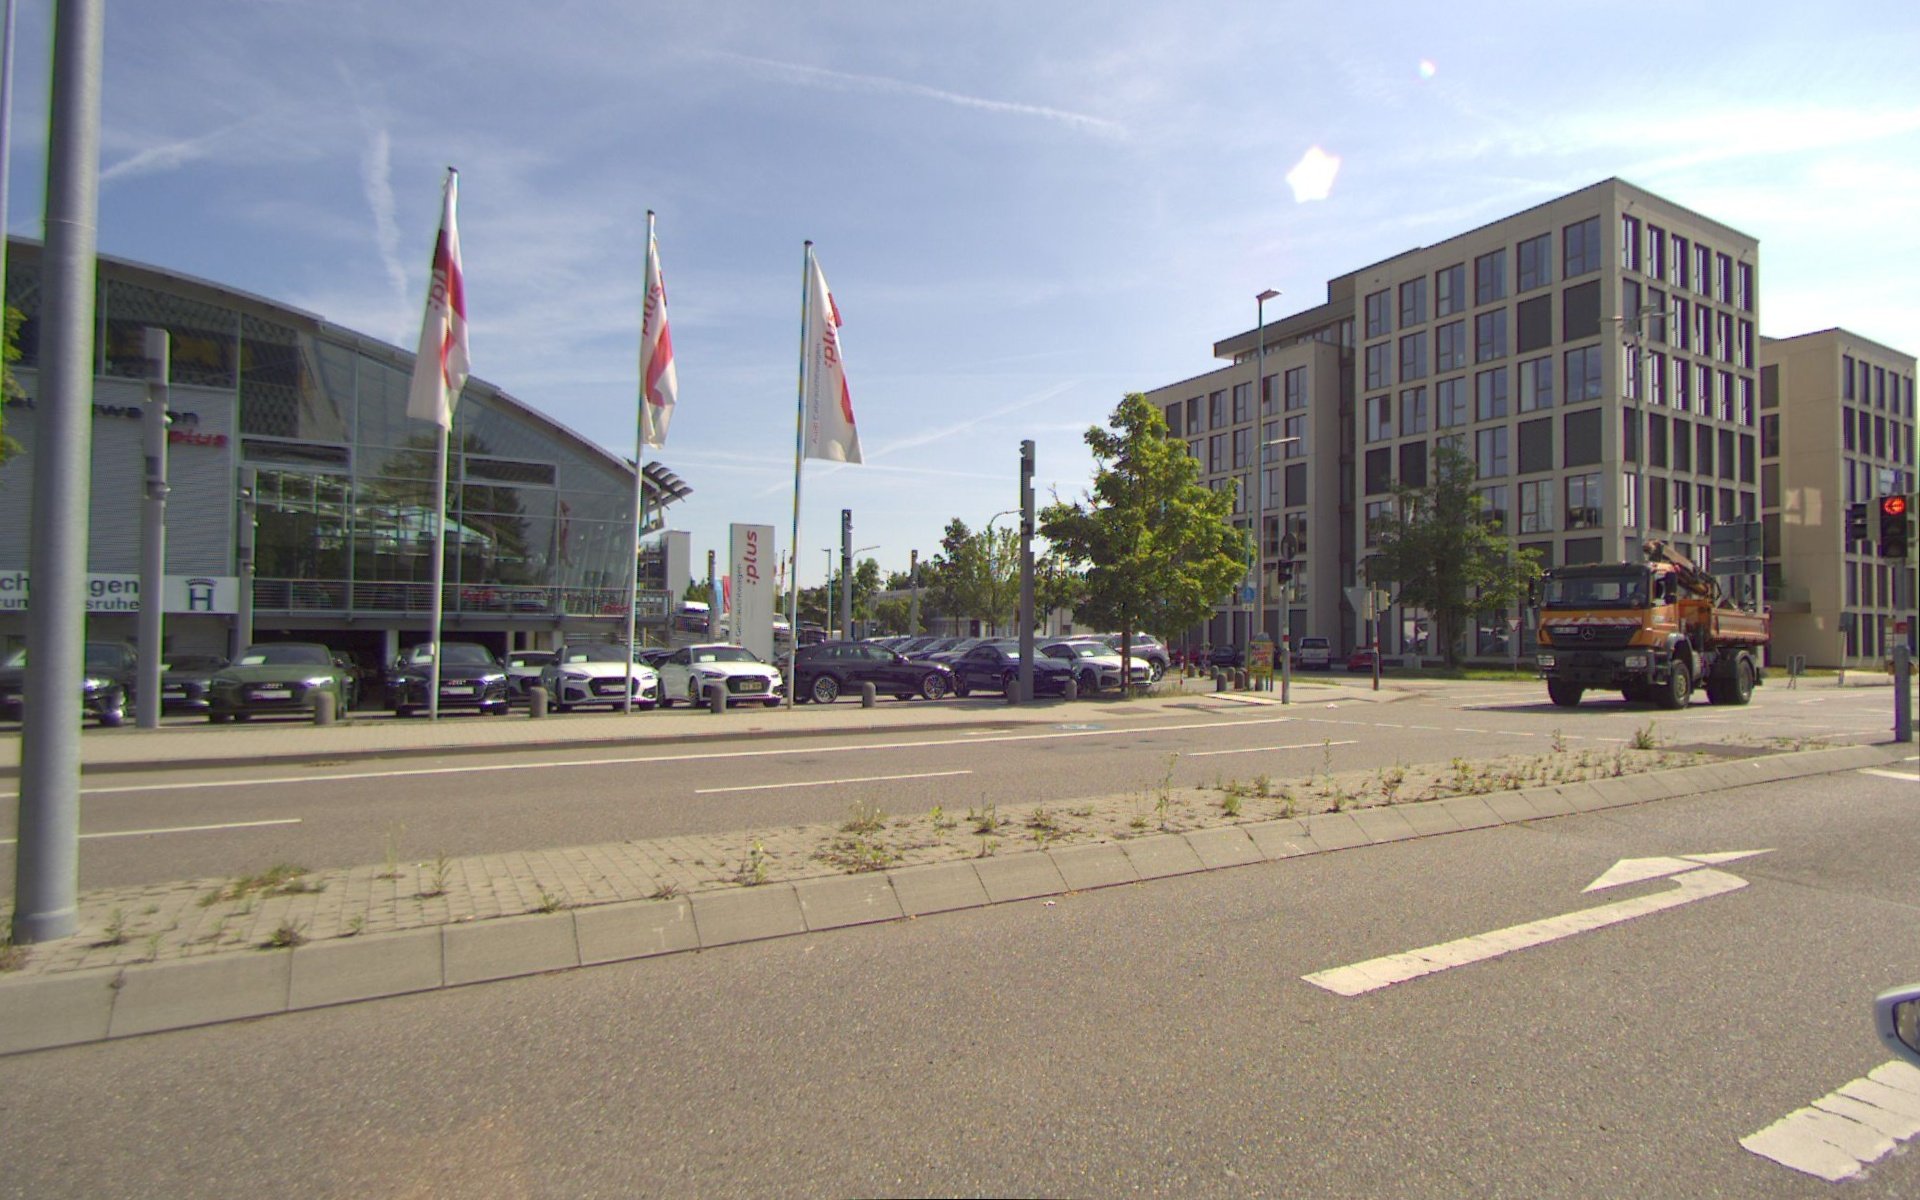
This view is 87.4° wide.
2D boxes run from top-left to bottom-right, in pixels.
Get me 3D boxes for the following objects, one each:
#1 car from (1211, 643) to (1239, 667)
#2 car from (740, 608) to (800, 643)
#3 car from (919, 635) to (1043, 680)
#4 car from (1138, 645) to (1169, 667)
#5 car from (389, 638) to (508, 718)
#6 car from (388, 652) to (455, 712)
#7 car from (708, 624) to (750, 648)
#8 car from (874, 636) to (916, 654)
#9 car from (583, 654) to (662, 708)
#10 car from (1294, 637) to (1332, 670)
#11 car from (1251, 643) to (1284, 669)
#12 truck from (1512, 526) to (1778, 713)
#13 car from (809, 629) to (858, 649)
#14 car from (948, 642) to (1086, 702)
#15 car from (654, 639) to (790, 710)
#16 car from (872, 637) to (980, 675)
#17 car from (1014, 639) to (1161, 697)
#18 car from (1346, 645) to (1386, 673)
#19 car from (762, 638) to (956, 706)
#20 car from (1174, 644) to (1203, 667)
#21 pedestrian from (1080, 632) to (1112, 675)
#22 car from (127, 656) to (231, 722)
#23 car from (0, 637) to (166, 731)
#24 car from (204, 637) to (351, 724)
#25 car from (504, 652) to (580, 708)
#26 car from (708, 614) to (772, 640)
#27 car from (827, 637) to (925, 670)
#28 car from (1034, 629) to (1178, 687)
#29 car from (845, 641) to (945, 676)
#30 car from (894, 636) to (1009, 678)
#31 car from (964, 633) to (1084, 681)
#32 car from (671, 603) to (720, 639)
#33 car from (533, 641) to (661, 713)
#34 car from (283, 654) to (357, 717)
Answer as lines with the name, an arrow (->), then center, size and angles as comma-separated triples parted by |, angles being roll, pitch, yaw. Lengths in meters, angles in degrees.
car -> 17.413, 3.596, 65.970 | 1.628, 1.517, 3.965 | -1, -2, 17
car -> -11.694, 1.543, 61.656 | 2.066, 1.932, 4.509 | 6, -4, -31
car -> 0.874, 2.267, 40.185 | 4.721, 1.525, 1.779 | -1, -1, -31
car -> 13.691, 3.927, 71.043 | 1.686, 1.434, 4.002 | -1, -2, 17
car -> -9.808, 1.491, 19.210 | 1.815, 1.336, 3.972 | 1, -5, -28
car -> -15.222, 2.254, 28.321 | 1.506, 1.492, 3.491 | 1, -2, -30
car -> -16.531, 2.535, 71.738 | 1.976, 1.595, 3.956 | 1, -1, -29
car -> -7.124, 4.945, 110.442 | 4.189, 1.965, 1.885 | 2, -3, -30
car -> -10.526, 2.464, 31.187 | 1.641, 1.492, 3.490 | 2, -2, -31
car -> 20.972, 3.133, 59.751 | 1.860, 1.845, 4.816 | -1, -2, 16
car -> 19.144, 3.453, 62.444 | 1.772, 1.533, 4.000 | -1, -2, 20
truck -> 16.095, 0.526, 23.406 | 7.506, 3.728, 2.728 | 2, -3, -36
car -> -16.517, 5.119, 130.937 | 5.828, 2.463, 2.360 | 2, -2, -26
car -> 1.390, 1.794, 26.021 | 1.744, 1.421, 3.815 | 2, -3, -31
car -> -5.305, 1.644, 22.012 | 1.856, 1.387, 4.055 | 2, -5, -30
car -> -1.505, 2.485, 45.068 | 4.578, 1.461, 1.779 | -1, -1, -31
car -> 3.384, 1.802, 27.506 | 1.876, 1.451, 4.357 | 1, -3, -27
car -> 22.831, 3.300, 56.579 | 1.772, 1.434, 4.031 | -1, -2, 18
car -> -2.437, 1.697, 24.475 | 4.373, 1.515, 1.790 | 2, -2, -30
car -> 15.656, 3.783, 68.755 | 1.655, 1.499, 4.002 | -1, -2, 17
pedestrian -> 5.743, 2.247, 42.450 | 0.906, 1.772, 0.996 | 2, -2, -30
car -> -19.835, 2.207, 25.637 | 1.570, 1.492, 3.492 | 1, -2, -30
car -> -14.656, 1.384, 16.600 | 1.809, 1.372, 4.261 | 2, -5, -31
car -> -12.095, 1.439, 18.044 | 1.833, 1.352, 4.157 | 2, -5, -30
car -> -12.505, 2.340, 29.936 | 1.647, 1.492, 3.491 | 1, -2, -30
car -> -17.980, 2.203, 82.160 | 4.697, 2.040, 1.984 | 2, -3, -31
car -> -4.151, 2.621, 49.798 | 4.506, 1.461, 1.779 | 0, -2, -31
car -> 4.850, 1.880, 33.260 | 4.540, 1.635, 1.806 | -1, -1, -30
car -> -3.034, 2.709, 47.314 | 4.351, 1.461, 1.779 | -1, -1, -31
car -> -0.354, 2.387, 42.744 | 4.620, 1.537, 1.769 | -1, -1, -31
car -> 2.458, 2.135, 38.189 | 4.325, 1.564, 1.779 | -1, -1, -31
car -> -18.653, 1.465, 70.608 | 2.063, 2.373, 5.510 | 1, -1, -28
car -> -7.555, 1.587, 20.691 | 1.846, 1.336, 3.971 | 2, -5, -29
car -> -17.219, 2.253, 27.134 | 1.506, 1.492, 3.491 | 1, -2, -30
